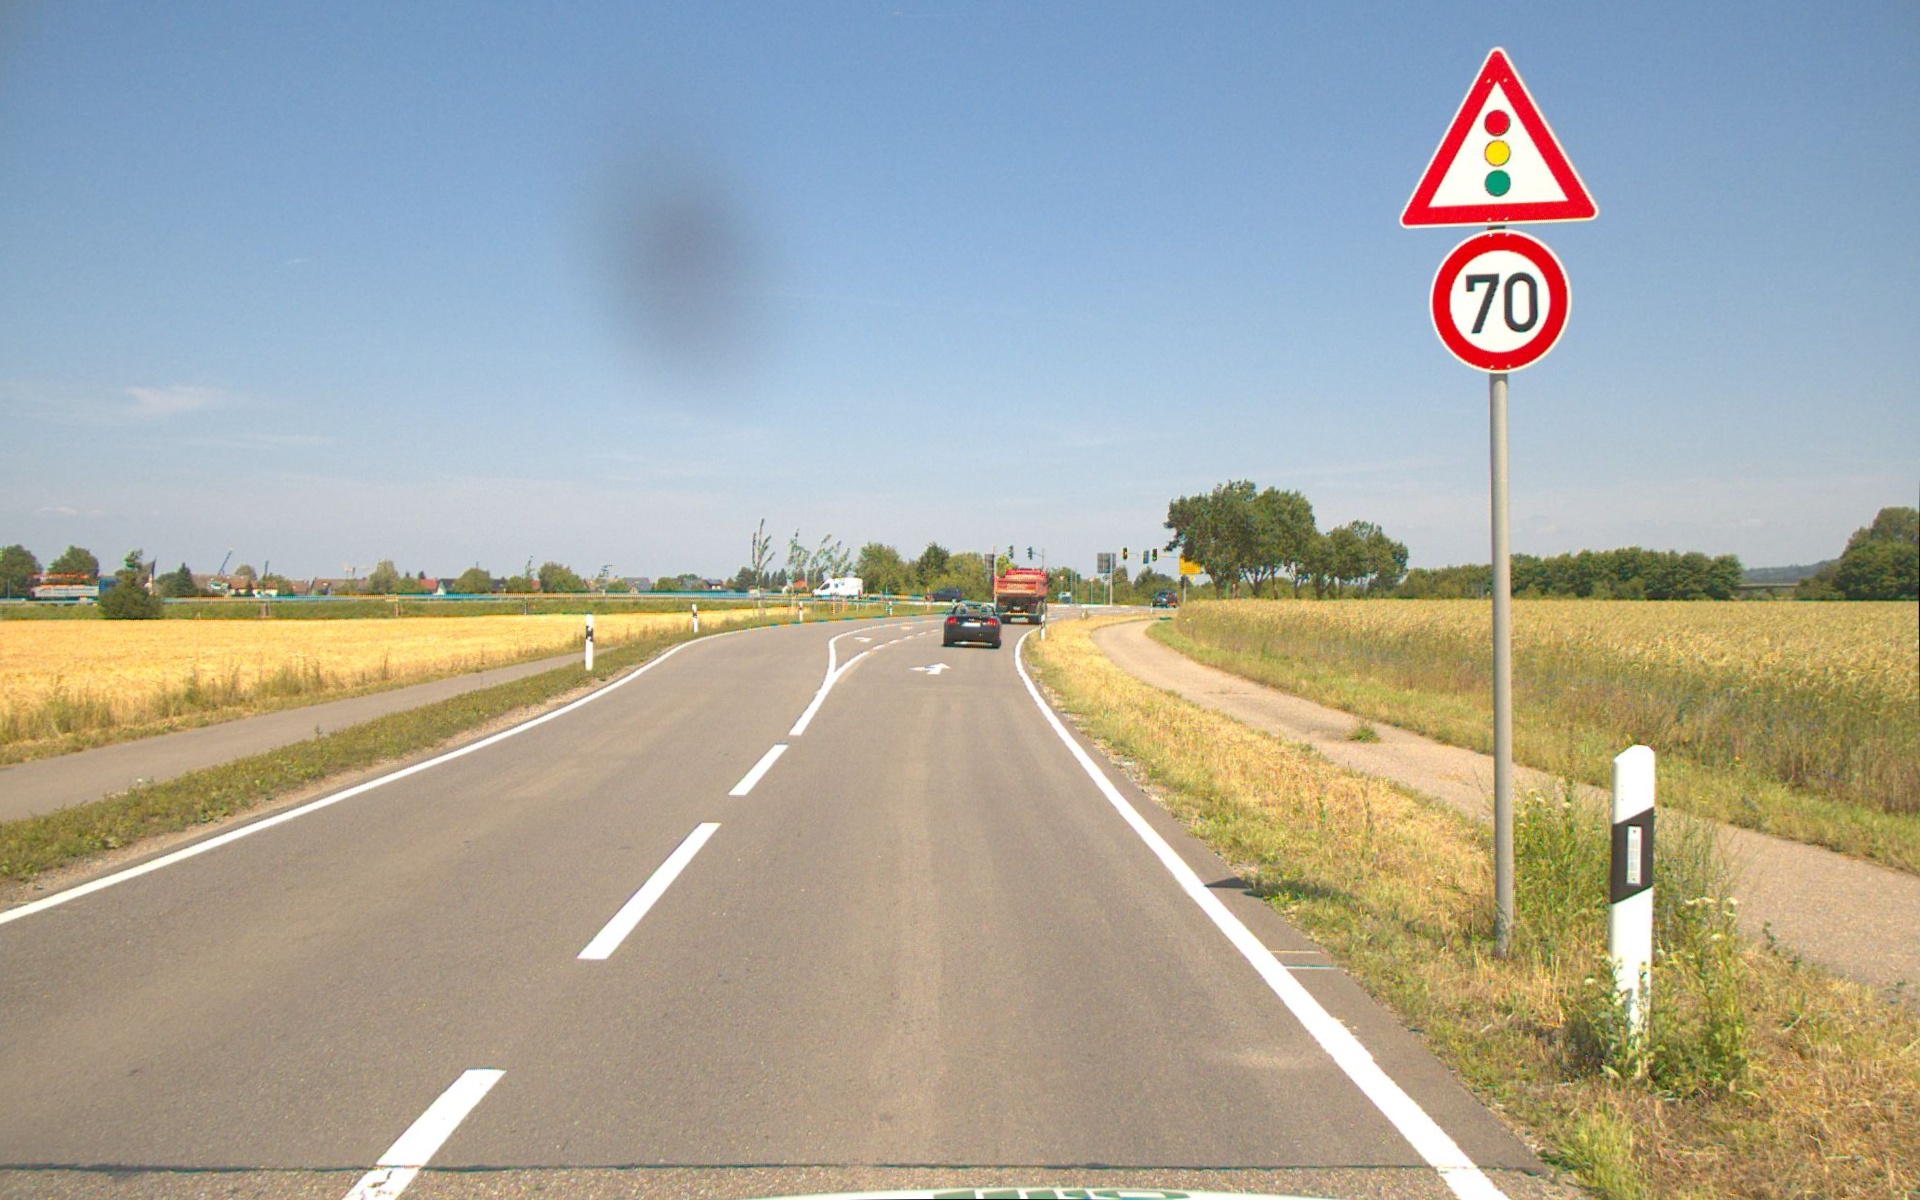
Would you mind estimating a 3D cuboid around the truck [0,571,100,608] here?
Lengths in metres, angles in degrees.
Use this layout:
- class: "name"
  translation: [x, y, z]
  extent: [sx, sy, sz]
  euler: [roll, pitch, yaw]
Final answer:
- class: "truck"
  translation: [-99.928, -1.181, 180.978]
  extent: [9.896, 3.859, 2.620]
  euler: [1, 0, -10]

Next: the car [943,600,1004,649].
- class: "car"
  translation: [0.391, 0.741, 51.014]
  extent: [1.712, 1.400, 3.678]
  euler: [2, -1, -2]

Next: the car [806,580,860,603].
- class: "car"
  translation: [-14.356, -0.982, 187.315]
  extent: [5.792, 2.464, 2.249]
  euler: [1, 0, 5]

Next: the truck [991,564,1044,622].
- class: "truck"
  translation: [3.332, -0.337, 94.425]
  extent: [2.657, 3.106, 8.168]
  euler: [1, -1, 4]
